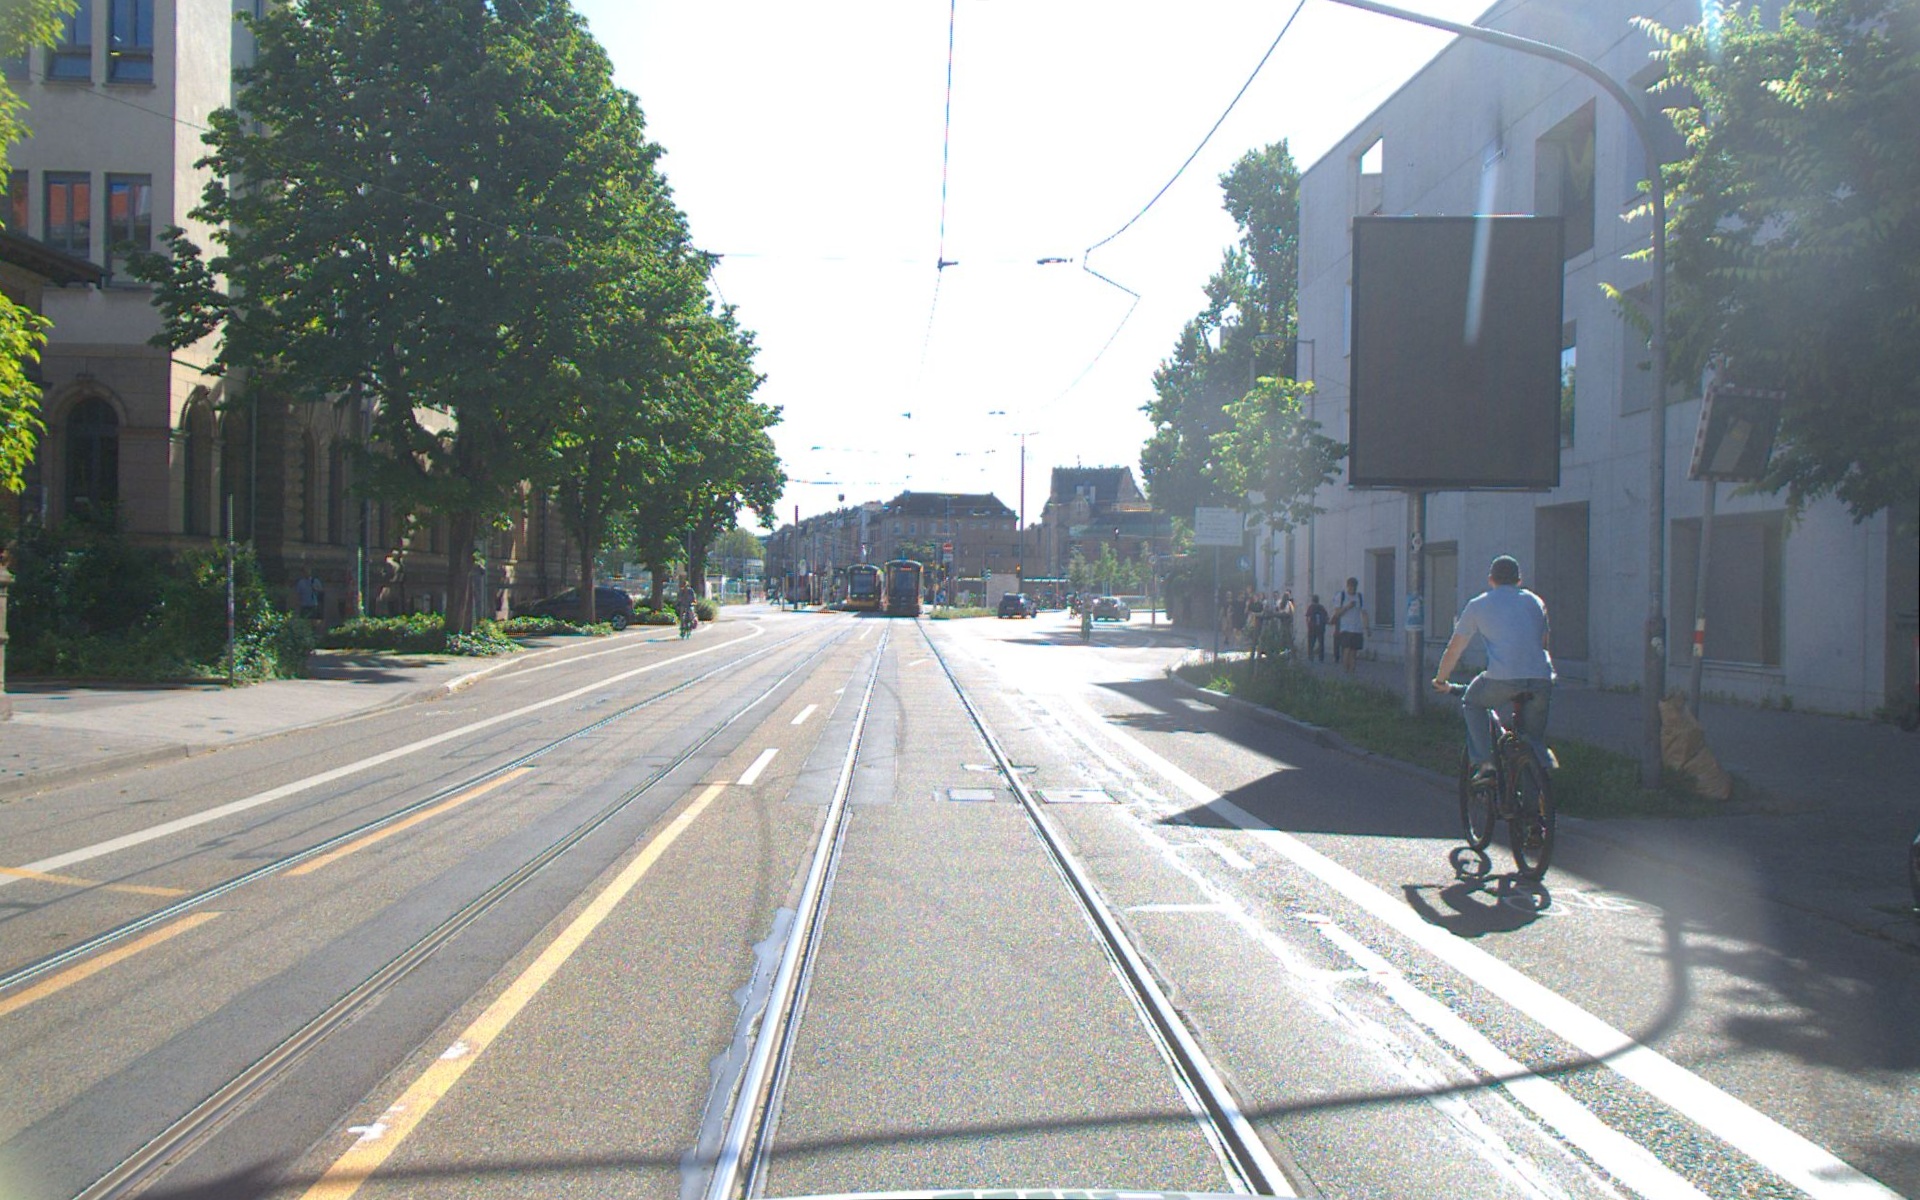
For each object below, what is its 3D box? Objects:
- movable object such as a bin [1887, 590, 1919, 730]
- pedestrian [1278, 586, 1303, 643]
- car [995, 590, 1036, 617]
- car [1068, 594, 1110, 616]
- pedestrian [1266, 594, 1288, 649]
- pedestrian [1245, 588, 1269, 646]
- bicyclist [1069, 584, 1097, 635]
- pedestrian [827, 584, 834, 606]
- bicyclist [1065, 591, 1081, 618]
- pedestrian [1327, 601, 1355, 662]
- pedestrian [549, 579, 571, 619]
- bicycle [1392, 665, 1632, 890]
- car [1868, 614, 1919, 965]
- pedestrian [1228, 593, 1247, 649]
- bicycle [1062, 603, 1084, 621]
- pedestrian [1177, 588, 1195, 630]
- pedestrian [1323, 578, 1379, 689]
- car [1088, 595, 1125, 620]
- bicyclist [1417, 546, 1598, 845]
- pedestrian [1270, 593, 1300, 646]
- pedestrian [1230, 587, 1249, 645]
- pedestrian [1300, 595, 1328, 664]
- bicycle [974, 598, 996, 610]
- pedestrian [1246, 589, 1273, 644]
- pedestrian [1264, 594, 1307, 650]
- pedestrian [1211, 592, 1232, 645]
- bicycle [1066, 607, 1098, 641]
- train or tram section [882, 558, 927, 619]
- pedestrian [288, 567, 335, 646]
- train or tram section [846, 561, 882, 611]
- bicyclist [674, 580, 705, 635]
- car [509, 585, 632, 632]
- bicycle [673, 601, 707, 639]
[{"bbox_3d":[10.675,0.642,17.549,0.914,1.489,1.355,1,0,0],"label":"movable object such as a bin"},{"bbox_3d":[10.869,0.462,54.437,0.643,1.833,0.732,-3,0,6],"label":"pedestrian"},{"bbox_3d":[3.557,0.204,105.438,1.751,1.632,3.715,2,1,16],"label":"car"},{"bbox_3d":[10.011,0.394,128.023,1.671,1.672,3.702,2,1,33],"label":"car"},{"bbox_3d":[10.661,0.710,55.648,0.597,1.805,0.653,-4,0,14],"label":"pedestrian"},{"bbox_3d":[9.568,0.533,53.282,0.633,1.793,0.957,-4,0,13],"label":"pedestrian"},{"bbox_3d":[4.287,0.325,57.711,0.690,1.704,1.102,2,1,17],"label":"bicyclist"},{"bbox_3d":[-11.174,-0.415,142.849,0.614,1.859,0.662,1,0,-3],"label":"pedestrian"},{"bbox_3d":[7.390,0.269,108.158,0.690,1.730,0.987,3,1,22],"label":"bicyclist"},{"bbox_3d":[9.056,0.745,39.330,0.507,1.429,0.764,0,0,1],"label":"pedestrian"},{"bbox_3d":[-17.031,-0.029,70.422,0.686,1.663,0.759,3,0,-2],"label":"pedestrian"},{"bbox_3d":[3.295,1.013,10.101,0.723,1.113,2.111,2,0,0],"label":"bicycle"},{"bbox_3d":[5.148,0.802,5.025,1.786,1.484,4.813,-1,0,-6],"label":"car"},{"bbox_3d":[8.935,0.671,53.253,0.484,1.758,0.817,-4,0,11],"label":"pedestrian"},{"bbox_3d":[7.374,0.766,108.183,0.690,1.073,2.313,3,1,22],"label":"bicycle"},{"bbox_3d":[10.578,0.438,77.557,0.624,1.937,1.134,-2,0,-1],"label":"pedestrian"},{"bbox_3d":[6.747,0.564,28.574,0.670,1.882,0.955,-1,0,-3],"label":"pedestrian"},{"bbox_3d":[9.481,0.481,106.867,1.751,1.537,3.715,2,1,14],"label":"car"},{"bbox_3d":[3.312,0.553,10.086,0.723,1.715,0.972,2,0,0],"label":"bicyclist"},{"bbox_3d":[10.448,0.617,53.187,0.811,1.632,0.894,-4,0,13],"label":"pedestrian"},{"bbox_3d":[9.557,0.532,56.517,0.507,1.935,0.612,-3,0,6],"label":"pedestrian"},{"bbox_3d":[8.450,0.701,39.461,0.507,1.628,0.764,0,0,1],"label":"pedestrian"},{"bbox_3d":[2.258,0.353,148.063,1.896,1.122,0.598,1,0,-5],"label":"bicycle"},{"bbox_3d":[10.175,0.564,56.216,0.519,1.805,0.732,-4,0,38],"label":"pedestrian"},{"bbox_3d":[9.794,0.664,49.759,0.845,1.669,0.986,-1,-2,45],"label":"pedestrian"},{"bbox_3d":[8.956,0.627,56.689,0.593,1.777,0.718,-3,0,6],"label":"pedestrian"},{"bbox_3d":[4.264,0.839,57.718,0.690,1.124,1.718,2,1,17],"label":"bicycle"},{"bbox_3d":[-3.703,-0.788,108.172,2.687,3.715,13.778,1,1,-3],"label":"train or tram section"},{"bbox_3d":[-15.581,0.150,39.773,0.714,1.828,0.780,3,0,-1],"label":"pedestrian"},{"bbox_3d":[-7.566,-1.150,131.561,2.687,3.715,13.778,1,1,-3],"label":"train or tram section"},{"bbox_3d":[-8.431,0.238,51.624,0.672,1.673,1.238,-1,0,2],"label":"bicyclist"},{"bbox_3d":[-13.960,0.305,59.274,3.944,1.577,1.859,2,0,-30],"label":"car"},{"bbox_3d":[-8.424,0.611,51.636,0.672,1.144,1.932,-1,0,2],"label":"bicycle"}]
